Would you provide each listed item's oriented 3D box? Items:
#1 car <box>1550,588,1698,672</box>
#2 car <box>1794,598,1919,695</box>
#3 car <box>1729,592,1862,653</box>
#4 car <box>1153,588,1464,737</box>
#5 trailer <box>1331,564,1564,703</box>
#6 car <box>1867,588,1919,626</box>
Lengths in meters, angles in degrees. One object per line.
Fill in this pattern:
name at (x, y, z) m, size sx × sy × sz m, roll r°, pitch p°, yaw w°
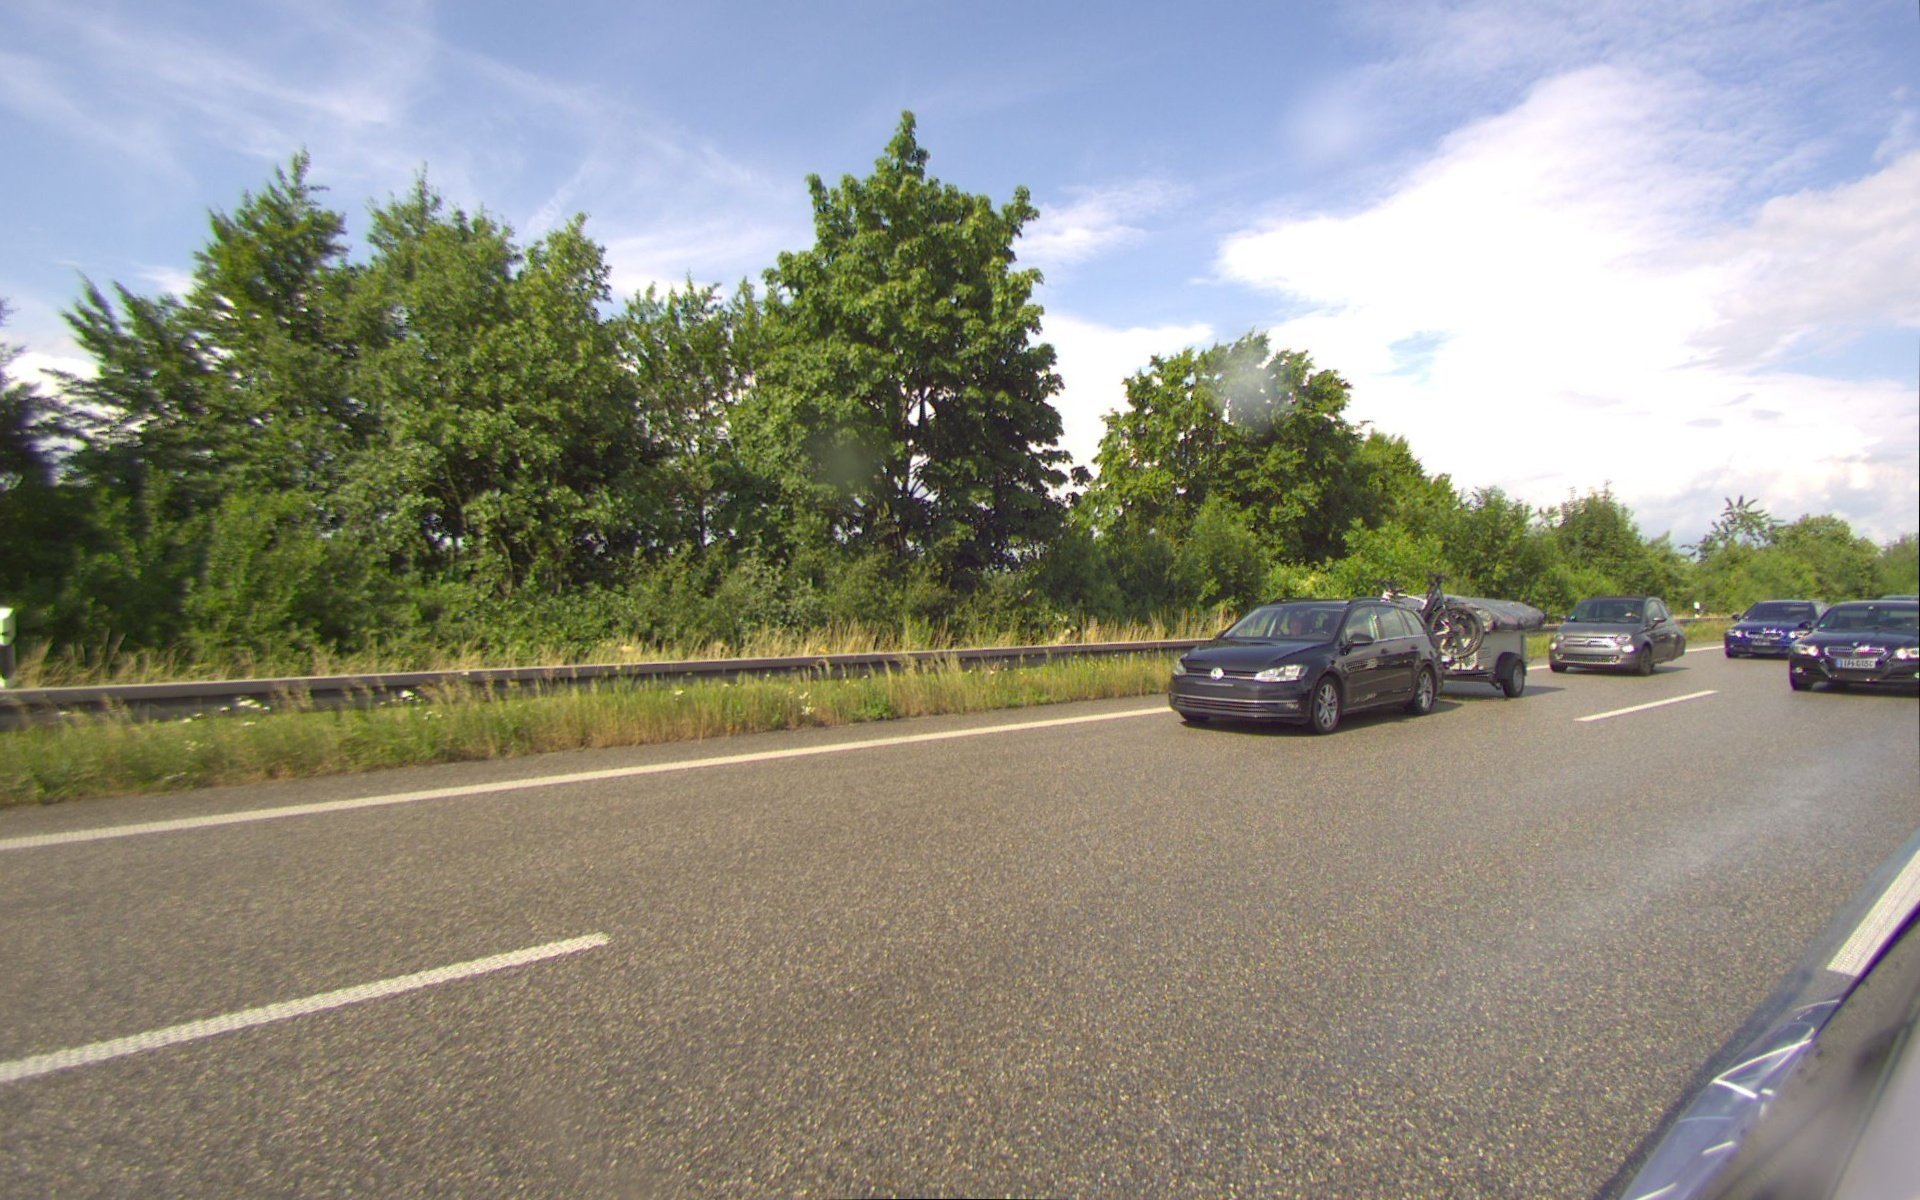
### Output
car at (13.137, 0.523, 19.953) m, size 3.421 × 1.507 × 1.614 m, roll 0°, pitch 1°, yaw -41°
car at (14.792, 0.663, 16.090) m, size 3.815 × 1.371 × 1.721 m, roll 0°, pitch 0°, yaw -40°
car at (20.794, 0.499, 25.116) m, size 4.499 × 1.368 × 1.770 m, roll 0°, pitch 1°, yaw -40°
car at (4.273, 0.589, 12.021) m, size 4.332 × 1.449 × 1.744 m, roll 0°, pitch 1°, yaw -44°
trailer at (7.251, 0.416, 14.892) m, size 3.901 × 1.768 × 1.807 m, roll 0°, pitch 0°, yaw -43°
car at (39.570, 0.260, 42.315) m, size 4.176 × 1.509 × 1.997 m, roll 0°, pitch 1°, yaw -41°
